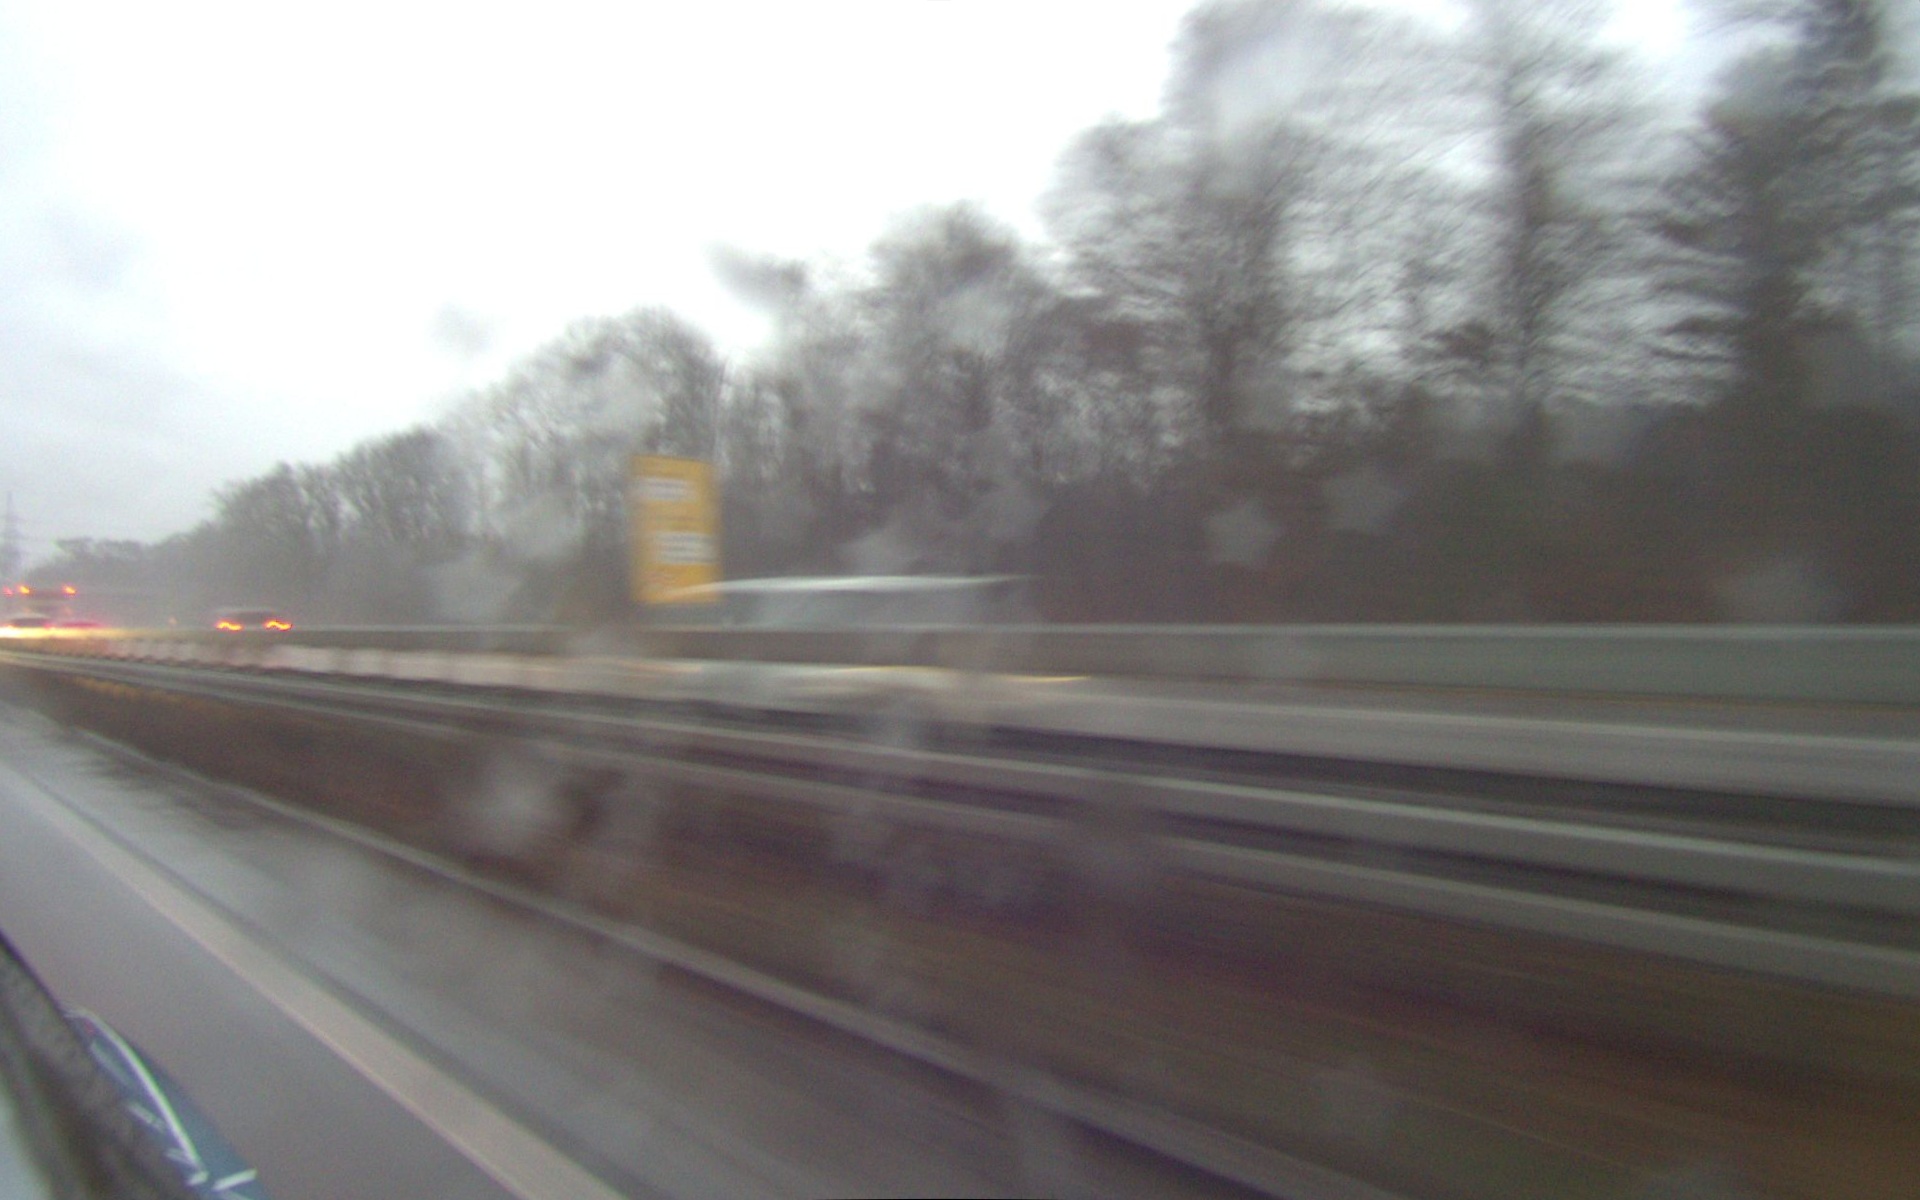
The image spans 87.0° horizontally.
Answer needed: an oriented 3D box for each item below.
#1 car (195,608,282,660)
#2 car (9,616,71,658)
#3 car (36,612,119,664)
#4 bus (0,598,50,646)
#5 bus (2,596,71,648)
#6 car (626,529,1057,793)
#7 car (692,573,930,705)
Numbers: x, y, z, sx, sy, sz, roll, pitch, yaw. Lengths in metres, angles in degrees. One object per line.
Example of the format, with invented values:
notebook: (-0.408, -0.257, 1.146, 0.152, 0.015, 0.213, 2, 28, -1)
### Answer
car: (-27.022, 1.261, 37.867, 3.999, 1.813, 1.835, -1, -1, 42)
car: (-48.173, 1.905, 52.954, 4.727, 2.029, 1.972, -1, -1, 42)
car: (-36.338, 1.550, 41.628, 4.596, 1.997, 1.833, -1, -1, 40)
bus: (-74.000, 1.736, 79.489, 9.084, 3.582, 2.698, -1, -1, 41)
bus: (-67.108, 1.568, 73.439, 9.151, 3.582, 2.710, -1, -1, 41)
car: (-1.373, 0.522, 10.219, 4.516, 2.103, 1.704, -1, -1, 41)
car: (-2.481, 0.586, 16.329, 3.894, 1.880, 1.614, -1, -1, 40)
